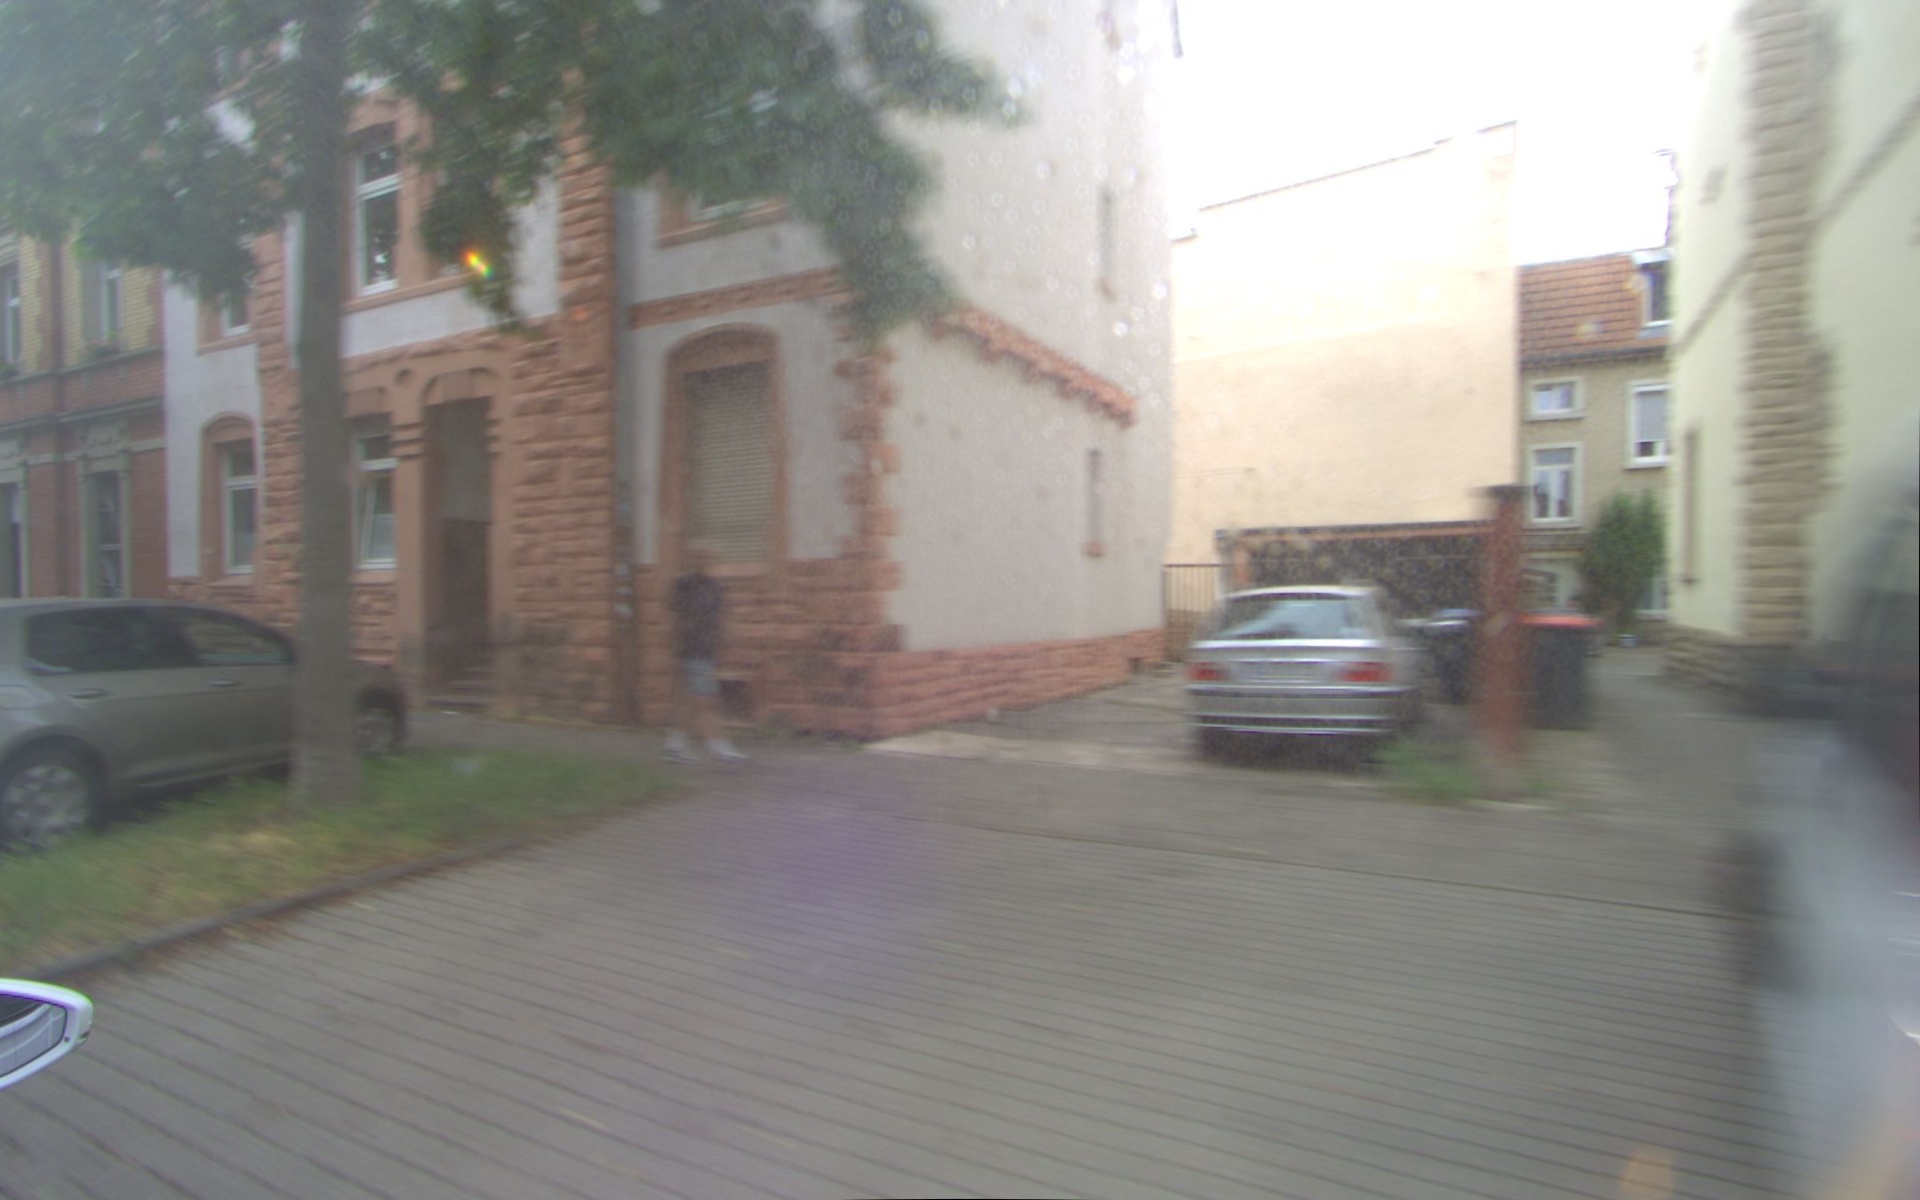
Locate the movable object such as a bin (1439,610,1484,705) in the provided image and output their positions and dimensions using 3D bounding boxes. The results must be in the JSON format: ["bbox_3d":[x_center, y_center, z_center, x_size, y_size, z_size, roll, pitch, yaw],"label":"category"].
[{"bbox_3d":[6.161,0.691,12.299,0.470,1.126,0.403,1,1,29],"label":"movable object such as a bin"}]

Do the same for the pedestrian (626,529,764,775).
[{"bbox_3d":[-2.106,0.393,7.982,0.804,1.836,0.700,1,0,30],"label":"pedestrian"}]

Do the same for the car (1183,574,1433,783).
[{"bbox_3d":[3.368,0.561,9.198,1.584,1.473,3.984,0,0,28],"label":"car"}]

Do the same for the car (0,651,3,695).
[{"bbox_3d":[-13.272,0.625,10.957,1.725,1.447,4.440,-1,2,-8],"label":"car"}]

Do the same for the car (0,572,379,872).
[{"bbox_3d":[-5.810,0.651,6.551,1.752,1.583,3.468,1,0,6],"label":"car"}]

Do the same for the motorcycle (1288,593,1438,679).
[{"bbox_3d":[6.718,0.568,16.743,2.217,1.350,0.794,0,2,32],"label":"motorcycle"}]

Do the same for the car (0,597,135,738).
[{"bbox_3d":[-10.911,0.704,10.443,1.713,1.455,3.882,1,0,-6],"label":"car"}]

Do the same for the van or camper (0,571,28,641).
[{"bbox_3d":[-38.157,0.206,36.549,2.106,2.529,5.753,4,3,35],"label":"van or camper"}]

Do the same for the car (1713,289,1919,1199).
[{"bbox_3d":[2.528,0.571,1.758,1.696,1.835,3.977,1,0,34],"label":"car"}]

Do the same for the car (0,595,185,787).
[{"bbox_3d":[-8.286,0.702,7.842,1.672,1.485,3.693,0,0,-2],"label":"car"}]
